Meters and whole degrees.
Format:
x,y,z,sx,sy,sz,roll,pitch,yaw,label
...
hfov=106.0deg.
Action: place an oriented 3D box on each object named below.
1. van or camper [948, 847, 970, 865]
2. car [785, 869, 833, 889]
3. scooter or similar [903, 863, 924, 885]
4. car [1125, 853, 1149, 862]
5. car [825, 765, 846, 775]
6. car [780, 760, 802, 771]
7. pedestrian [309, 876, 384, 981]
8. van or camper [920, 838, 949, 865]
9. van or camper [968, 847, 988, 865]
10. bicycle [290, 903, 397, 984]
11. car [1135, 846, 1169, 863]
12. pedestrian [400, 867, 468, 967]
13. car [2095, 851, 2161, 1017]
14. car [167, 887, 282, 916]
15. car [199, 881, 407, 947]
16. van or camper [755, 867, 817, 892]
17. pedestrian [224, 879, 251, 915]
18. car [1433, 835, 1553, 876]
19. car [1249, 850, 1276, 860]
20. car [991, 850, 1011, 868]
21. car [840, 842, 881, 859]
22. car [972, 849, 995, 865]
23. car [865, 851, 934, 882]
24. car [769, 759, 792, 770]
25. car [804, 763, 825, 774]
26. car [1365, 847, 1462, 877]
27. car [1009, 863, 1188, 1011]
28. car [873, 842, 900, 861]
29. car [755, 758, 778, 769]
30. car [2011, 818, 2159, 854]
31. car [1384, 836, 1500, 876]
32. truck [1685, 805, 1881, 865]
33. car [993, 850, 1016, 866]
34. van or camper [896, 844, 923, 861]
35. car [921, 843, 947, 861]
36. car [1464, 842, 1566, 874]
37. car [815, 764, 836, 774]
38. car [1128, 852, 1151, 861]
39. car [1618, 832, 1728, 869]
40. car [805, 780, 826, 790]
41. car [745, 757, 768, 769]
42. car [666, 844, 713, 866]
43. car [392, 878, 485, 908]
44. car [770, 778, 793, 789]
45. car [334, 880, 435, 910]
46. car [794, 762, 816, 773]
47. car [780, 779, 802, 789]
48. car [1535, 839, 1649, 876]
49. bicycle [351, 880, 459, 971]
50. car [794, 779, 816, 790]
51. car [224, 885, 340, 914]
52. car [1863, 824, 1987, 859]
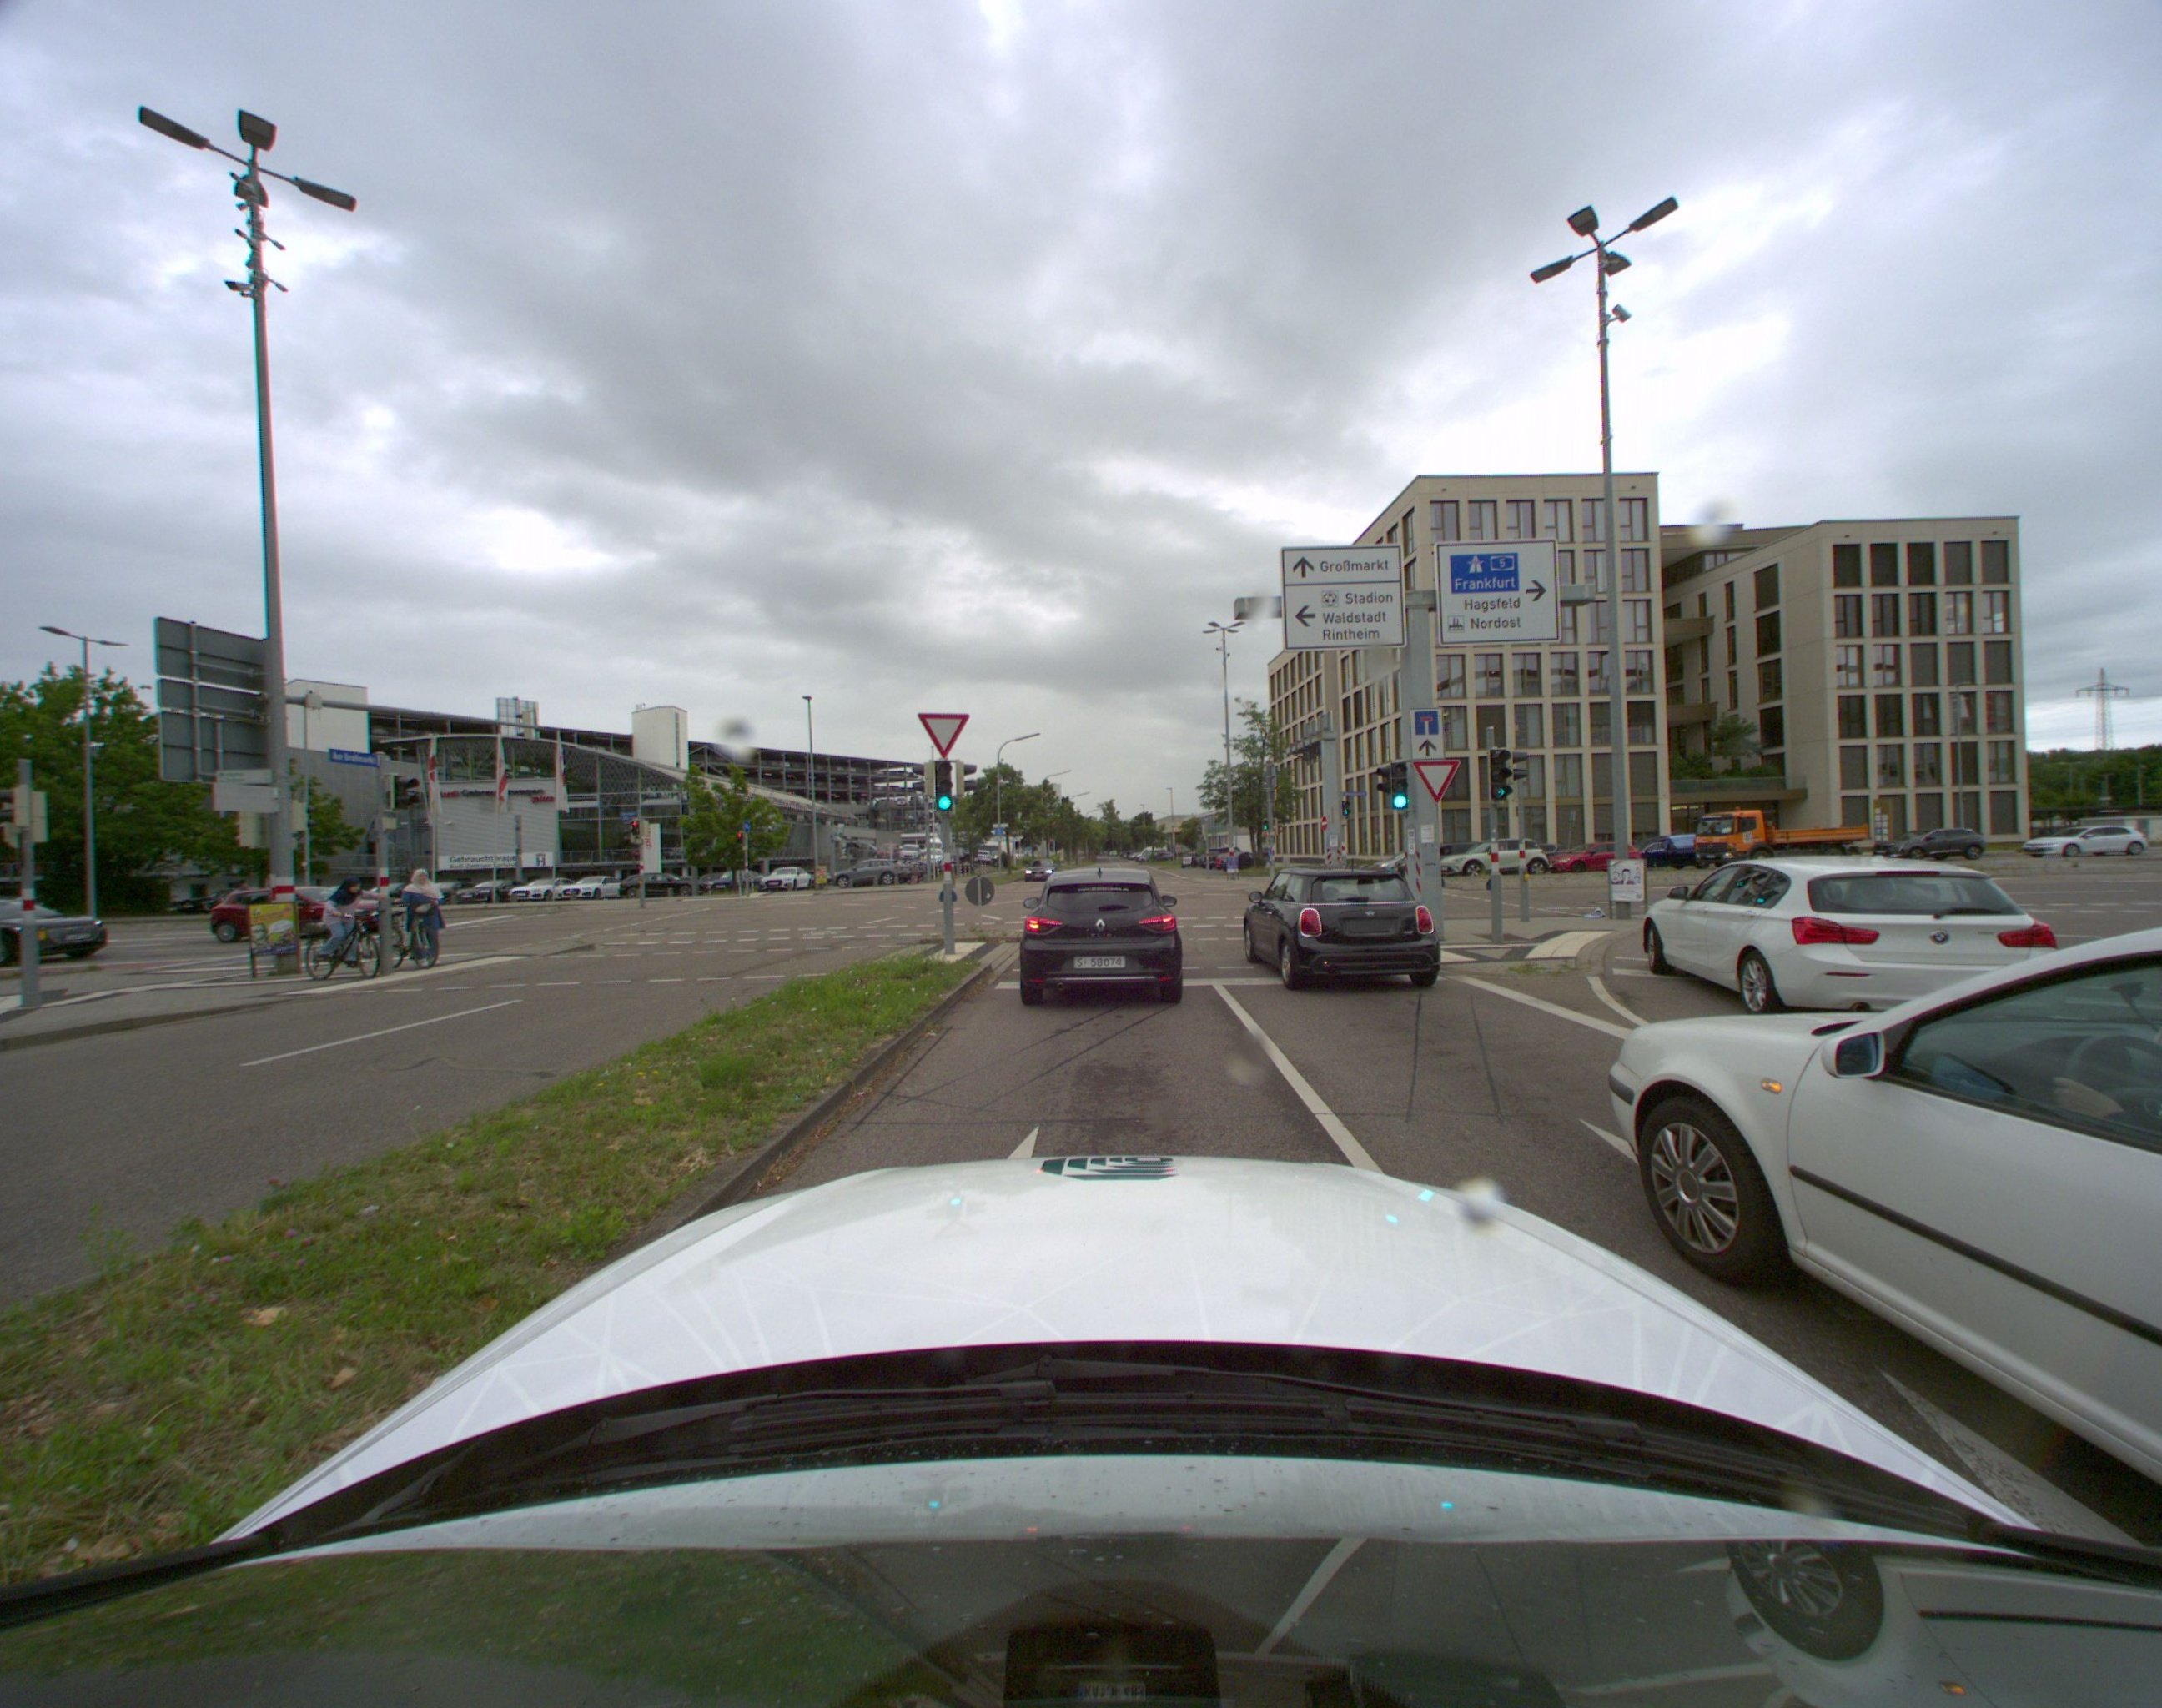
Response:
x,y,z,sx,sy,sz,roll,pitch,yaw,label
-14.138,0.253,94.546,1.988,2.014,3.997,0,-1,-2,van or camper
-25.852,2.404,77.378,3.979,1.838,1.757,0,-1,-4,car
-9.866,1.162,48.007,0.553,1.219,1.567,1,1,16,scooter or similar
12.483,0.863,181.410,5.156,2.014,2.144,0,-1,0,car
-49.412,-16.869,163.751,3.948,1.667,2.013,-1,0,34,car
-55.263,-16.774,155.118,3.948,1.667,2.013,-1,0,34,car
-11.288,1.124,12.524,0.641,1.549,0.657,-3,-3,25,pedestrian
-16.984,-0.273,94.638,2.529,3.027,4.840,0,-1,-2,van or camper
-11.940,0.242,94.680,1.988,2.014,3.997,0,-1,-2,van or camper
-11.300,1.361,12.468,1.923,1.166,0.511,-3,-3,25,bicycle
13.092,0.142,150.790,6.096,3.116,2.134,0,-1,0,car
-11.077,1.064,13.939,0.683,1.626,0.645,-4,0,32,pedestrian
9.884,0.672,5.446,1.884,1.449,4.199,-1,-1,18,car
-46.545,2.553,44.399,1.845,1.421,4.214,-2,-2,-2,car
-22.315,1.690,23.489,4.058,1.487,1.738,-3,1,-5,car
-22.253,1.930,61.477,3.977,1.816,1.845,0,-1,-2,van or camper
-45.233,2.318,43.672,0.715,1.871,0.672,-2,-2,-3,pedestrian
16.976,0.062,33.673,4.047,1.643,1.903,0,-1,-4,car
24.463,0.080,109.913,3.237,1.332,1.477,0,-1,-17,car
-9.261,0.602,94.811,1.988,2.014,3.997,0,-1,-2,car
-24.400,-0.381,90.244,3.975,1.838,1.759,0,-1,-1,car
-9.989,0.300,83.417,1.988,1.618,3.997,0,-1,-2,car
-13.641,0.965,61.487,4.765,2.013,1.997,-4,-1,-5,car
-56.613,-16.795,153.284,3.948,1.667,2.013,-1,0,34,car
-52.243,-16.740,159.696,3.948,1.667,2.013,-1,0,34,car
16.403,0.395,40.276,4.074,1.432,1.750,0,-1,-2,car
0.236,0.844,9.982,1.750,1.435,4.001,0,-1,2,car
-19.930,-0.254,83.585,1.988,1.849,3.997,0,-1,-2,car
-58.308,-16.720,150.931,3.948,1.667,2.013,-1,0,34,car
49.231,-0.871,40.031,4.319,1.657,2.006,-1,-1,10,car
16.333,0.100,36.995,4.396,1.769,1.998,0,-1,-2,car
32.119,-0.835,37.462,6.633,2.638,2.820,0,-1,-1,truck
-7.825,0.456,83.758,1.987,1.618,3.999,0,-1,0,car
-17.494,-0.158,83.280,1.988,1.651,3.997,0,-1,-2,van or camper
-15.032,-0.198,83.342,1.988,1.823,3.997,0,-1,-2,car
21.460,0.207,40.371,4.125,1.491,1.870,0,-1,-2,car
-50.768,-16.898,161.962,3.948,1.667,2.013,-1,0,34,car
12.631,0.455,174.798,4.771,1.891,2.143,0,-1,-1,car
29.617,-0.169,40.818,4.125,1.769,1.998,0,-1,-2,car
-52.041,-13.475,159.659,3.948,1.667,2.013,-1,0,34,car
-59.358,-16.596,148.906,3.948,1.667,2.013,-1,0,34,car
-30.394,0.080,63.324,1.815,1.662,3.995,0,-1,-3,car
-35.464,2.161,45.091,1.897,1.486,4.186,-2,-3,-2,car
-56.353,-13.233,153.328,3.948,1.667,2.013,-1,0,34,car
-38.322,2.271,45.000,1.883,1.471,4.375,-2,-3,-2,car
-53.478,-16.765,157.714,3.948,1.667,2.013,-1,0,34,car
-55.379,-13.341,155.387,3.948,1.667,2.013,-1,0,34,car
23.304,0.165,37.214,3.976,1.601,1.999,0,-1,-2,car
-11.303,1.201,13.604,1.909,1.396,0.601,-5,0,27,bicycle
-53.461,-13.434,157.569,3.948,1.667,2.013,-1,0,34,car
-43.738,2.482,44.736,1.837,1.472,4.660,-1,-3,-2,car
42.619,-0.606,41.205,4.089,1.657,2.002,0,-1,3,car
